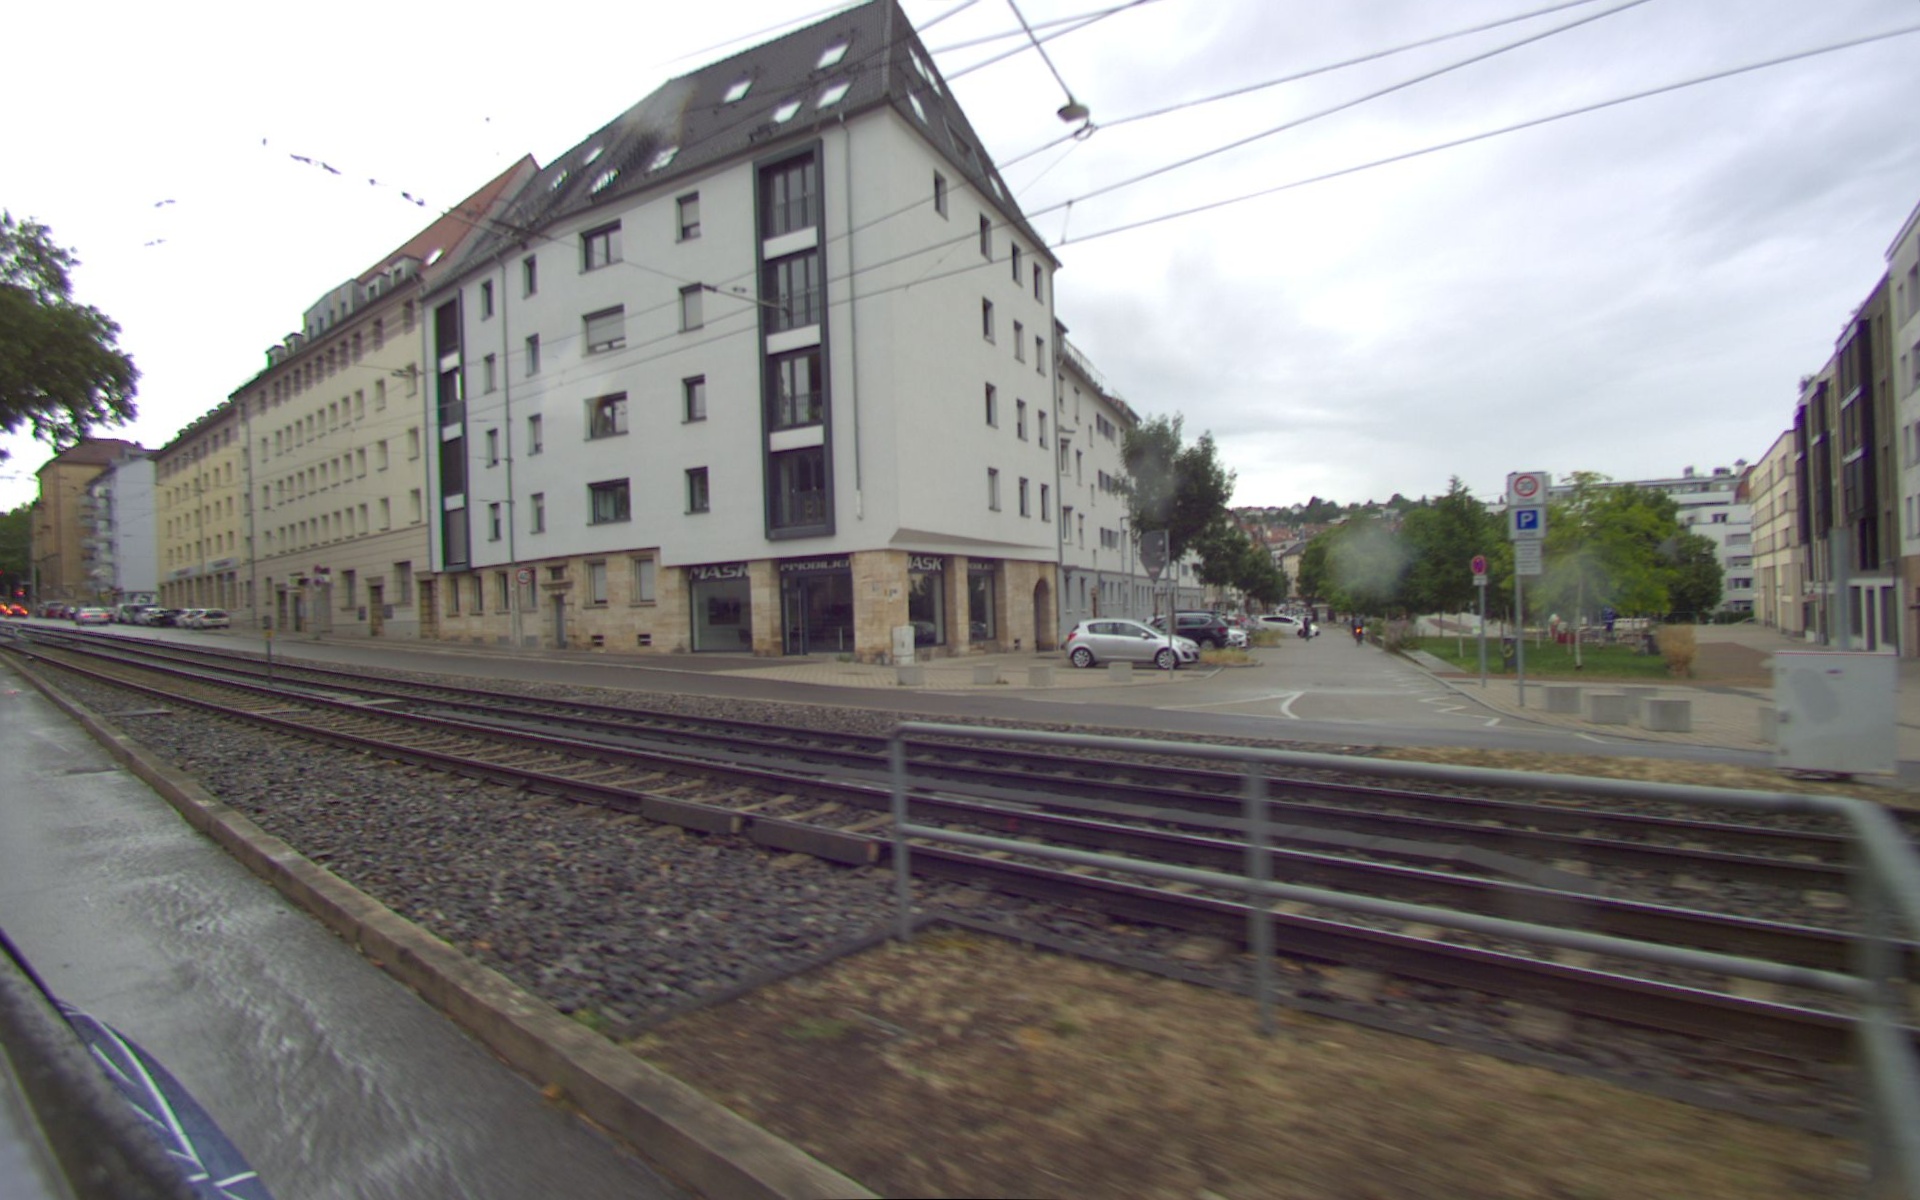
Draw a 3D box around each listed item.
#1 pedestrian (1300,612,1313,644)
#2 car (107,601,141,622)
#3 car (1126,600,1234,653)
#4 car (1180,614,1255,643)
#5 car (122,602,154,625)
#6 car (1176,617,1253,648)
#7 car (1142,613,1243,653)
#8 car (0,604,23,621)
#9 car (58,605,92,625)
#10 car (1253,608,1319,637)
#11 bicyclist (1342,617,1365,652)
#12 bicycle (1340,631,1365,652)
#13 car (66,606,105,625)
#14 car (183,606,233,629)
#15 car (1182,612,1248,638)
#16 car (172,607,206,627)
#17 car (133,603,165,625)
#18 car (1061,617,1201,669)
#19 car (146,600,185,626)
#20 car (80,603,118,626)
[{"bbox_3d":[21.904,1.756,63.976,0.716,2.029,0.734,0,-1,19],"label":"pedestrian"},{"bbox_3d":[-74.630,1.037,90.333,3.589,1.822,1.705,0,-1,40],"label":"car"},{"bbox_3d":[8.817,1.028,40.548,3.973,2.029,1.926,0,-1,22],"label":"car"},{"bbox_3d":[14.906,1.638,58.589,3.973,1.630,1.926,0,-1,22],"label":"car"},{"bbox_3d":[-69.913,1.100,86.047,4.041,1.897,1.536,0,-1,43],"label":"car"},{"bbox_3d":[14.162,1.776,56.313,3.974,1.630,1.925,0,-1,23],"label":"car"},{"bbox_3d":[9.910,1.391,43.159,3.973,1.630,1.926,0,-1,22],"label":"car"},{"bbox_3d":[-110.425,1.437,117.590,4.000,2.029,1.923,0,-1,43],"label":"car"},{"bbox_3d":[-93.184,1.593,106.548,4.224,2.029,2.004,0,-1,40],"label":"car"},{"bbox_3d":[23.825,1.648,73.926,4.310,2.029,1.828,-1,-1,30],"label":"car"},{"bbox_3d":[20.728,1.791,53.324,0.890,1.818,0.787,0,-1,6],"label":"bicyclist"},{"bbox_3d":[20.783,2.172,53.600,0.726,1.036,2.008,0,-1,6],"label":"bicycle"},{"bbox_3d":[-73.557,1.288,85.056,5.013,1.548,1.670,-1,-1,40],"label":"car"},{"bbox_3d":[-53.507,1.208,71.994,3.996,1.554,2.004,0,0,40],"label":"car"},{"bbox_3d":[16.687,1.617,66.130,3.973,1.630,1.926,0,-1,22],"label":"car"},{"bbox_3d":[-56.982,1.243,74.767,3.188,1.495,1.309,0,-1,40],"label":"car"},{"bbox_3d":[-66.603,1.140,83.079,3.403,1.766,1.360,0,-1,40],"label":"car"},{"bbox_3d":[5.076,1.237,30.009,3.886,1.431,1.591,0,0,19],"label":"car"},{"bbox_3d":[-62.307,1.020,79.343,4.298,1.975,1.706,0,-1,42],"label":"car"},{"bbox_3d":[-79.347,1.300,93.259,4.224,2.029,2.004,0,-1,40],"label":"car"}]
